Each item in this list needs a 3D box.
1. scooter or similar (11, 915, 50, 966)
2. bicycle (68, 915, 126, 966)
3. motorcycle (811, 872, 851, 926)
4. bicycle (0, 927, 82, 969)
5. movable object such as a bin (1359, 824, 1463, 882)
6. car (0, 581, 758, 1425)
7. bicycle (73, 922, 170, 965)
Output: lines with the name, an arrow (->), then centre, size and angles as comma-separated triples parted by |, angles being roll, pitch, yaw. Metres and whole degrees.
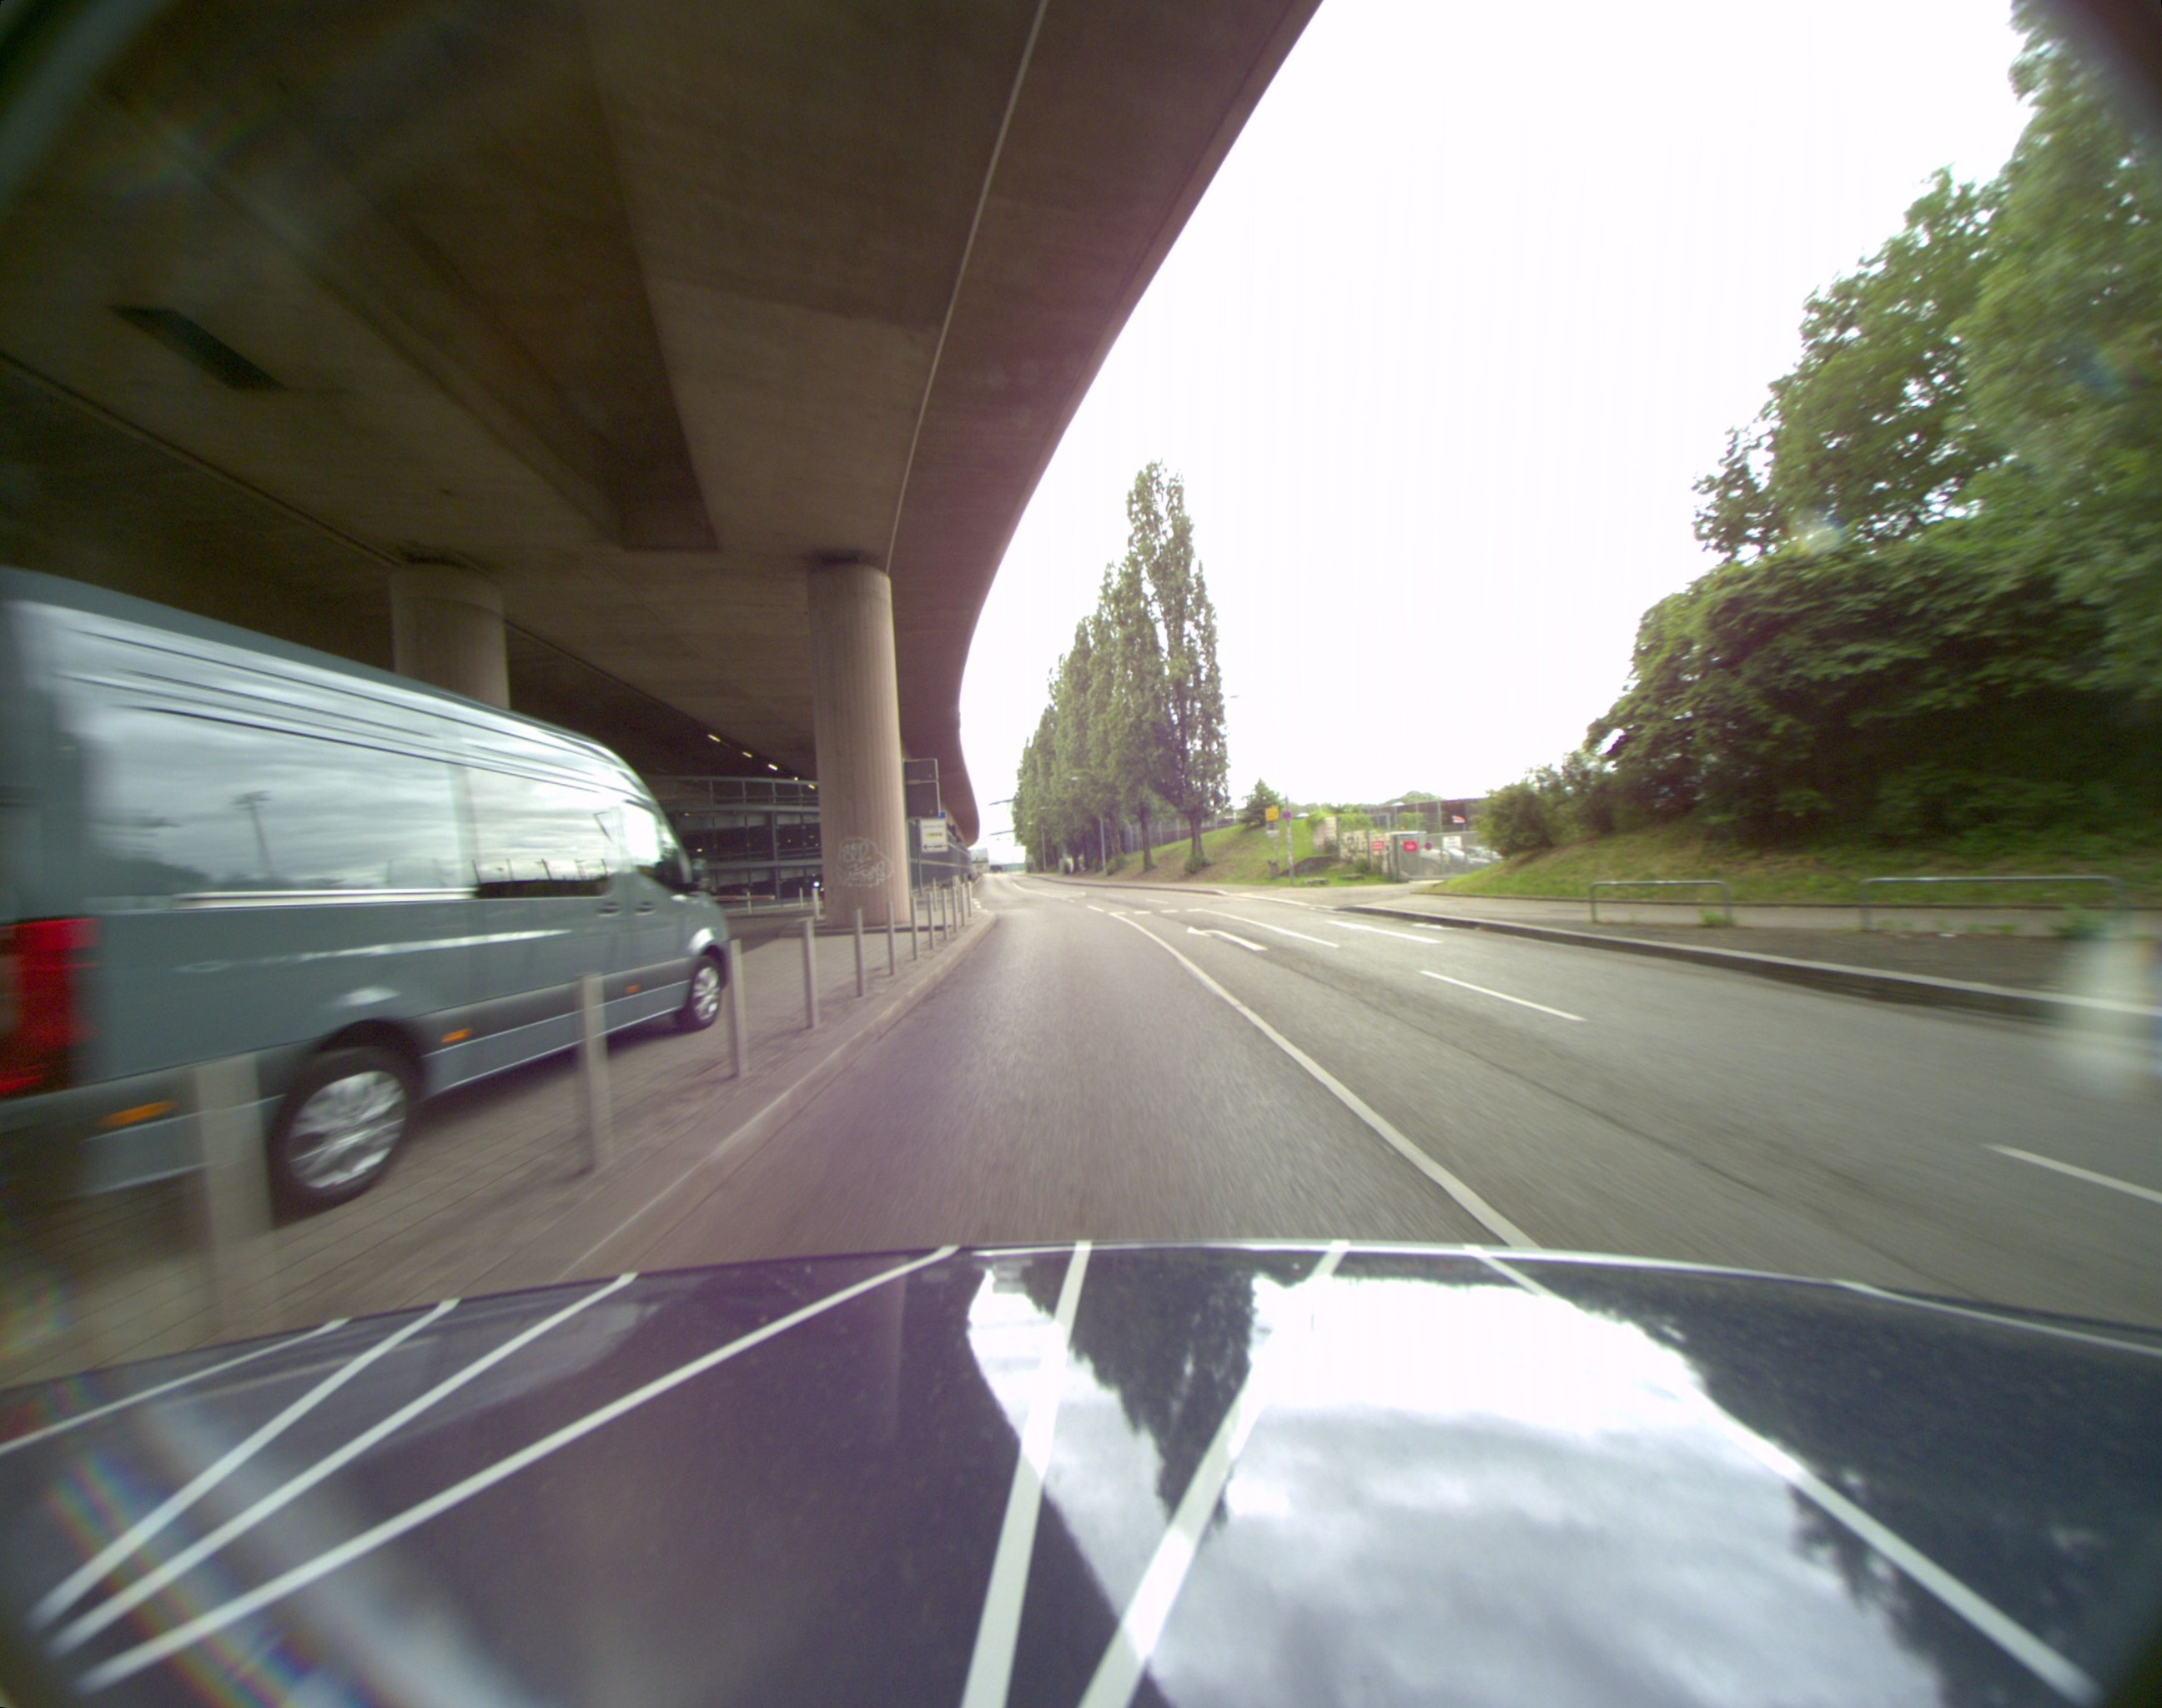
scooter or similar -> -26.873, 2.214, 19.426 | 1.676, 1.210, 0.545 | -6, -5, 35
bicycle -> -23.213, 2.051, 17.912 | 2.324, 1.098, 0.622 | -6, -5, 33
motorcycle -> -6.877, 1.201, 20.808 | 0.799, 1.358, 2.126 | -2, -1, -24
bicycle -> -28.572, 2.589, 20.885 | 1.733, 1.017, 0.437 | -4, -1, 3
movable object such as a bin -> 16.431, -0.003, 37.921 | 4.220, 2.706, 2.031 | -2, 0, 44
car -> -4.431, 0.515, 5.123 | 1.999, 2.597, 6.074 | -2, -1, -2
bicycle -> -26.304, 2.456, 20.842 | 2.062, 1.017, 0.396 | -3, -1, -1
